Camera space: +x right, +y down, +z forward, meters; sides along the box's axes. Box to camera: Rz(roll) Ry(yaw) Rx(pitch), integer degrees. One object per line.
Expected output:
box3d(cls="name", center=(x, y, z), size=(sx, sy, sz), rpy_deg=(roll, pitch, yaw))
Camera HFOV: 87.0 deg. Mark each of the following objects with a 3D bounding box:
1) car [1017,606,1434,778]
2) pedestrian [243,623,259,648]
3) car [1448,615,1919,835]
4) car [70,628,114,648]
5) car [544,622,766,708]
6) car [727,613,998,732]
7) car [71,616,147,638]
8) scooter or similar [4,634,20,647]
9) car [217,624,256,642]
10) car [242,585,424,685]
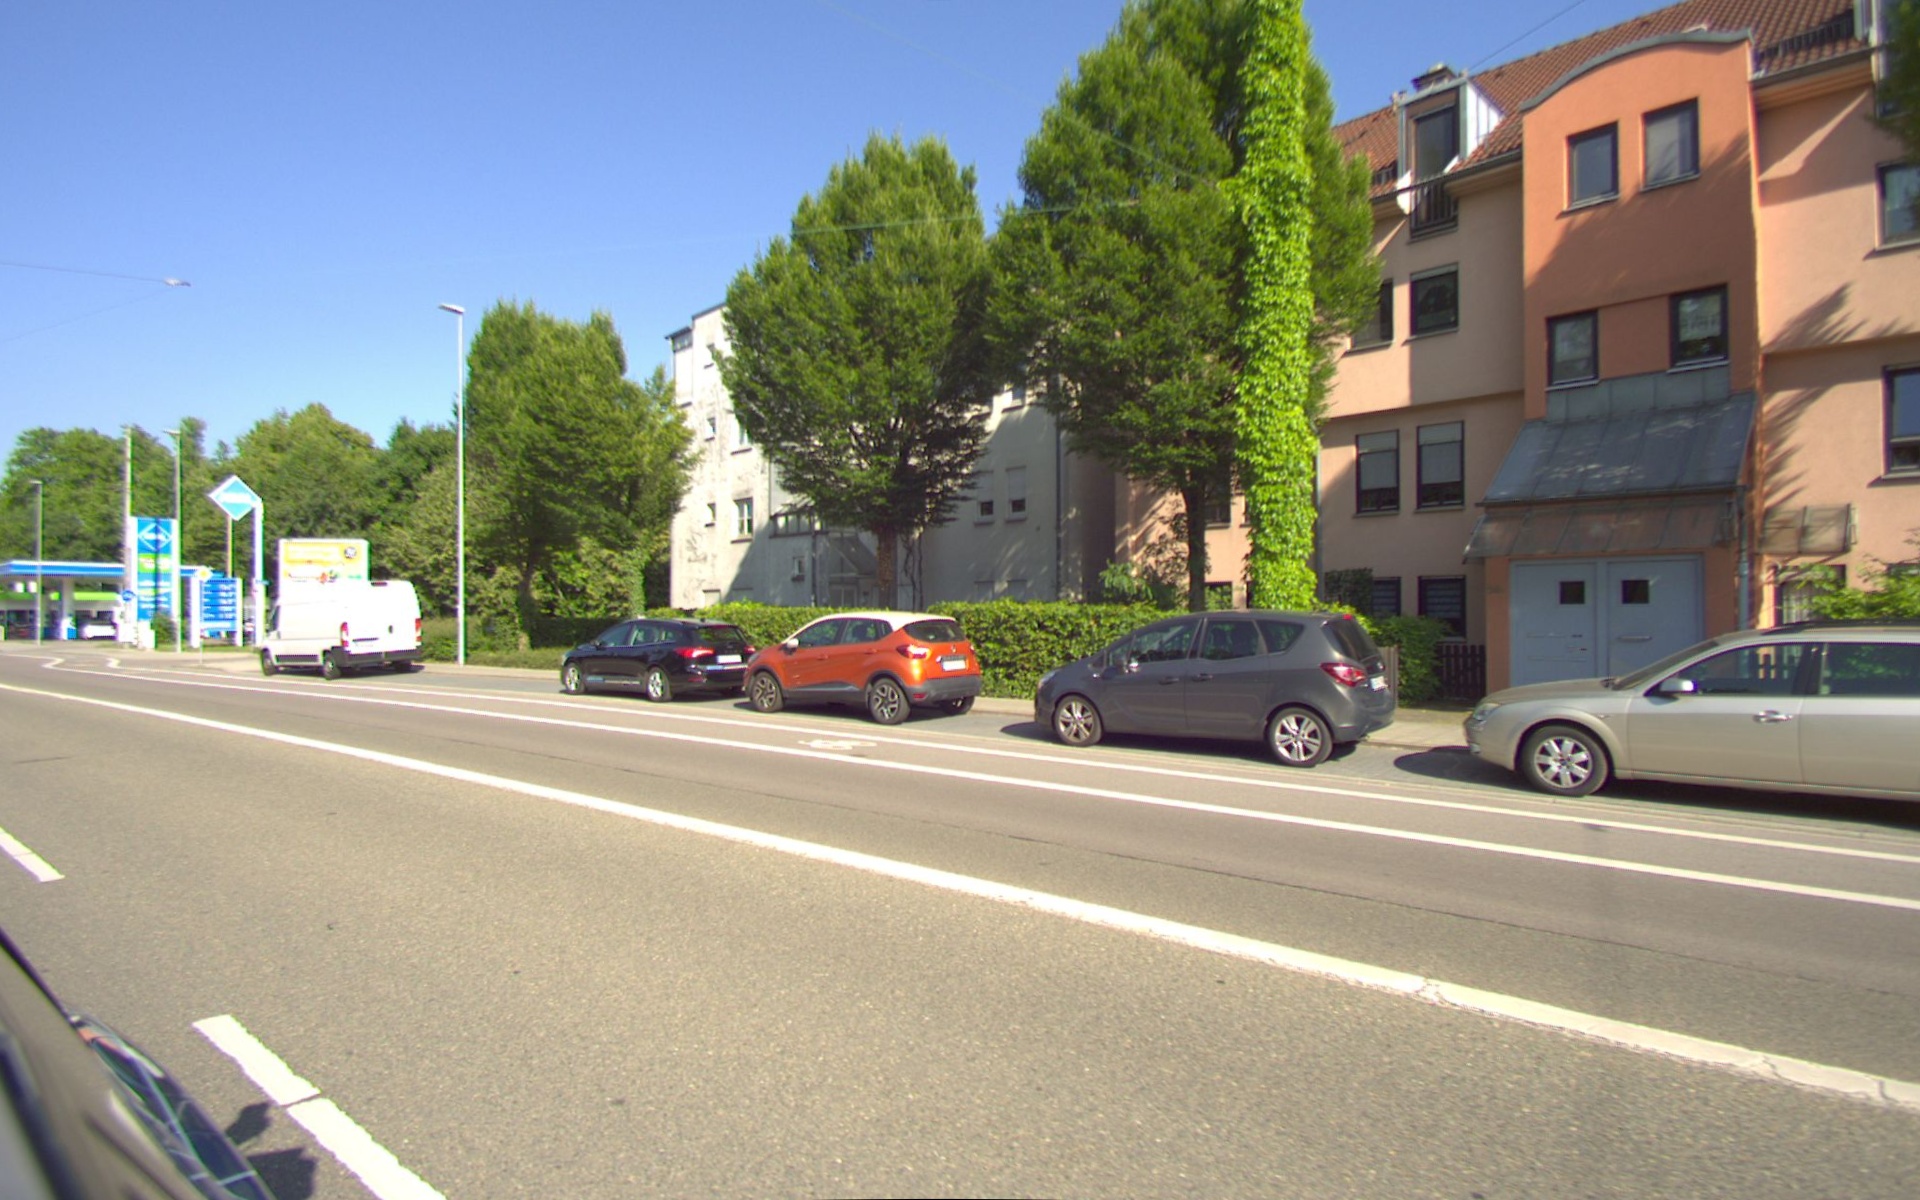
box3d(cls="car", center=(2.941, 0.917, 11.646), size=(4.290, 1.585, 1.747), rpy_deg=(-1, 1, 36))
box3d(cls="pedestrian", center=(-50.502, 2.512, 72.084), size=(0.811, 1.726, 1.068), rpy_deg=(1, -2, -41))
box3d(cls="car", center=(6.828, 0.911, 8.281), size=(4.841, 1.482, 1.695), rpy_deg=(0, 1, 41))
box3d(cls="car", center=(-67.076, 2.880, 78.158), size=(4.268, 1.502, 1.720), rpy_deg=(-1, -2, 38))
box3d(cls="car", center=(-5.817, 1.144, 19.005), size=(4.707, 1.435, 1.636), rpy_deg=(-2, -2, 39))
box3d(cls="car", center=(-1.587, 0.993, 15.578), size=(4.157, 1.586, 1.745), rpy_deg=(-1, -1, 39))
box3d(cls="car", center=(-77.592, 2.471, 92.341), size=(1.856, 1.955, 5.018), rpy_deg=(-2, -2, 40))
box3d(cls="scooter or similar", center=(-82.092, 3.479, 87.633), size=(0.350, 1.118, 1.017), rpy_deg=(-2, -2, 43))
box3d(cls="car", center=(-60.784, 2.761, 85.011), size=(3.996, 1.457, 1.719), rpy_deg=(-1, -2, 39))
box3d(cls="car", center=(-17.579, 0.936, 28.239), size=(6.171, 2.476, 2.133), rpy_deg=(-2, 0, 36))
